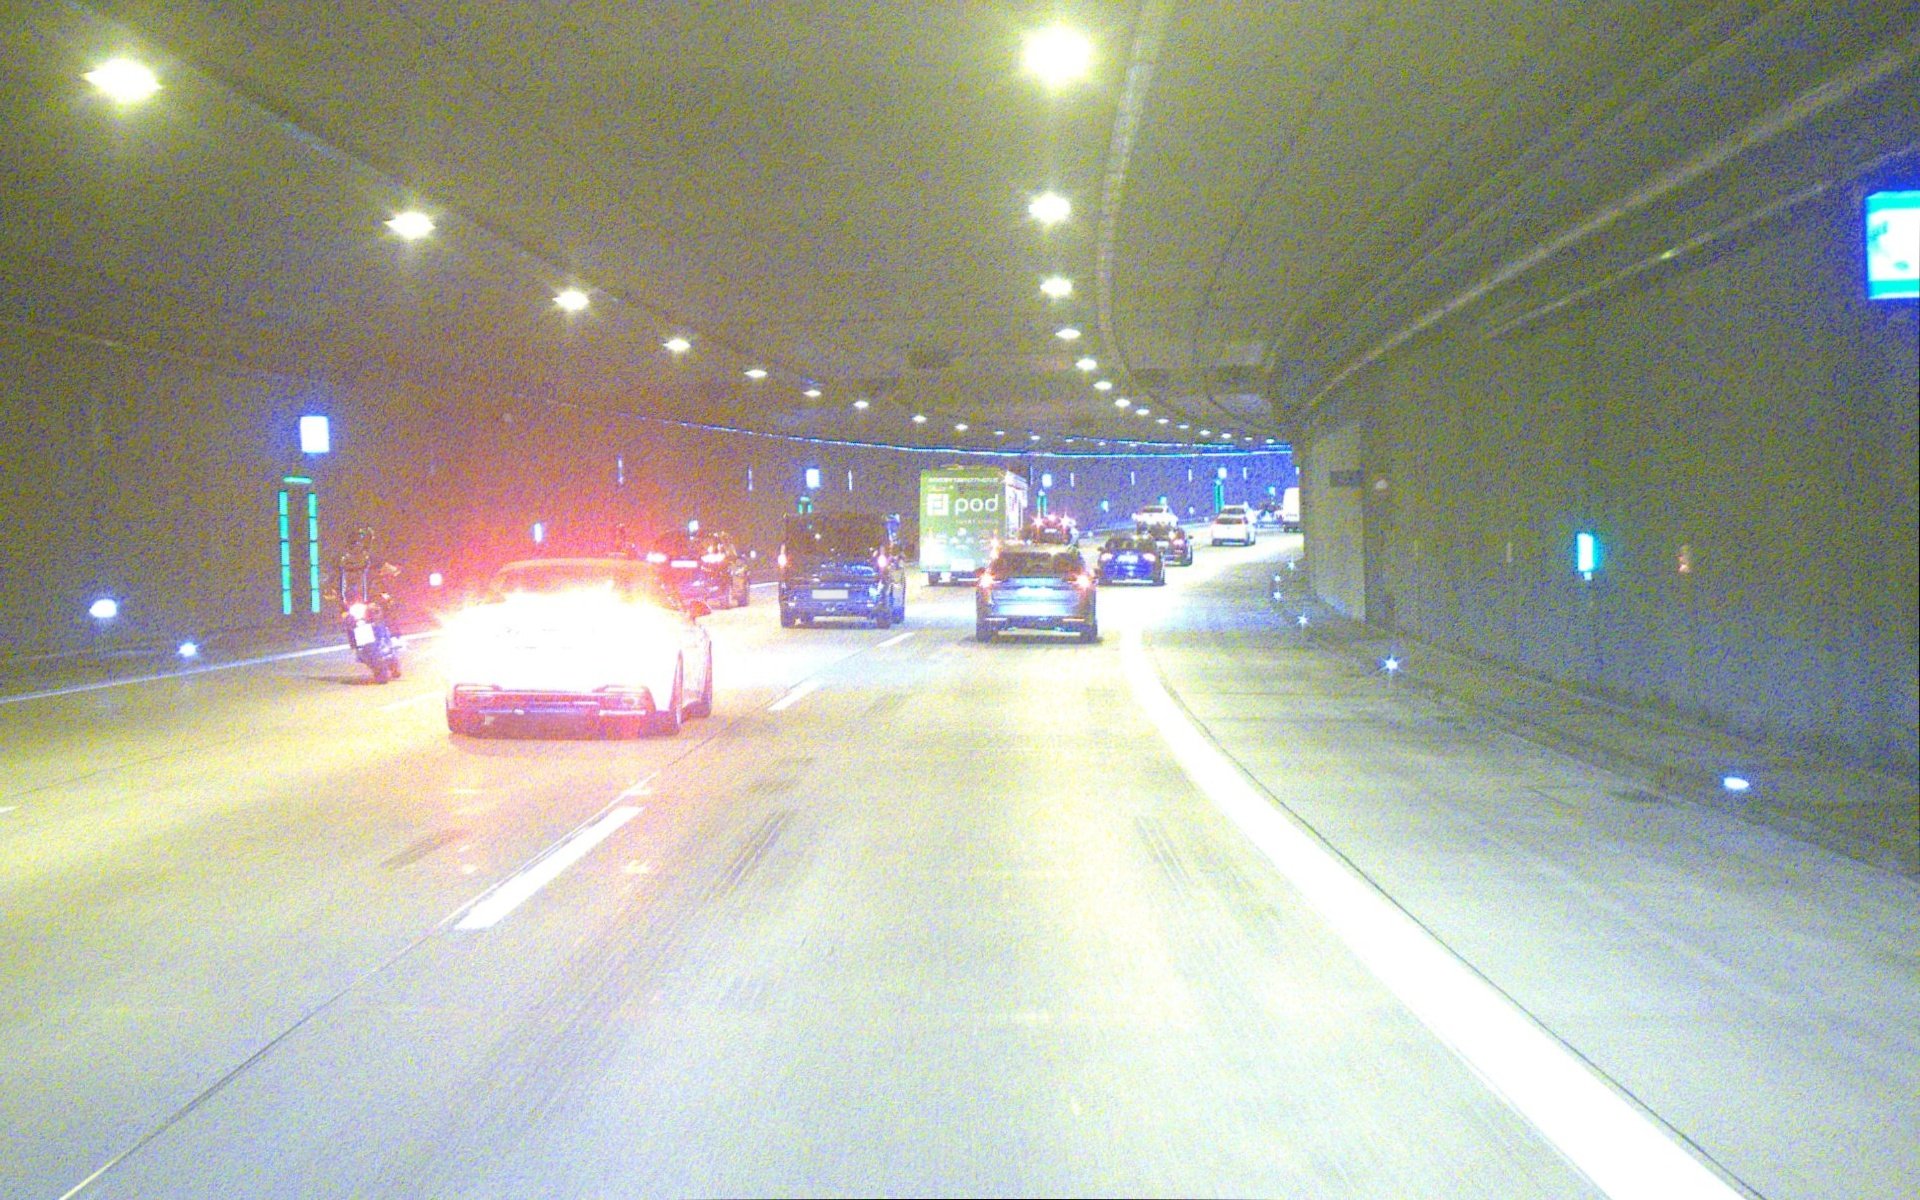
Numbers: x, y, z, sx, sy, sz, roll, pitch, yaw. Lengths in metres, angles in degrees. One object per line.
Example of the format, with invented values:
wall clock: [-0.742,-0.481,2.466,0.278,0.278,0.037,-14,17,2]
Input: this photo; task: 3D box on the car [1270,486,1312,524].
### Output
car: [18.531,-5.296,192.605,1.994,2.007,3.998,1,0,10]

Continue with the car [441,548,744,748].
car: [-2.945,0.326,28.571,1.702,1.414,5.060,0,2,3]

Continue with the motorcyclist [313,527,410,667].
motorcyclist: [-6.302,-0.035,36.255,0.777,1.447,1.069,1,0,3]

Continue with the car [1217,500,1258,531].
car: [15.241,-4.615,188.706,1.994,1.626,3.999,1,0,7]

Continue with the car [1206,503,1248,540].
car: [12.550,-3.664,161.396,1.931,1.637,3.999,1,0,5]

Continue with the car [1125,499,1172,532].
car: [10.174,-4.551,185.415,1.931,1.637,3.998,1,0,11]

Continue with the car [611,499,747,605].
car: [-5.455,-0.952,67.264,1.994,2.007,3.999,0,1,5]

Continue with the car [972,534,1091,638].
car: [1.118,-0.240,52.261,1.742,1.459,3.871,0,2,2]

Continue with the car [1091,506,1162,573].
car: [4.687,-1.689,96.314,1.857,1.848,4.000,0,1,4]

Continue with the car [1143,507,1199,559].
car: [7.599,-2.392,123.502,1.950,1.766,3.999,1,0,4]

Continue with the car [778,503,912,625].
car: [-1.933,-0.644,58.908,1.910,1.937,3.871,0,3,4]

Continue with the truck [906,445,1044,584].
truck: [0.476,-2.329,94.874,3.040,3.660,7.391,0,1,6]

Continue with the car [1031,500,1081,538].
car: [4.265,-3.569,152.235,1.931,1.637,3.999,0,1,6]

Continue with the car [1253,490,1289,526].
car: [18.412,-5.441,203.236,1.994,2.007,3.999,1,0,7]

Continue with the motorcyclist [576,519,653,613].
motorcyclist: [-5.432,-0.525,54.146,0.806,1.443,1.865,1,0,7]

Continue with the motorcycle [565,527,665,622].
motorcycle: [-5.408,-0.397,54.128,0.926,1.429,2.963,1,0,6]

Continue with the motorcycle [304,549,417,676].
motorcycle: [-6.295,0.111,36.220,0.683,1.292,2.399,1,1,2]
